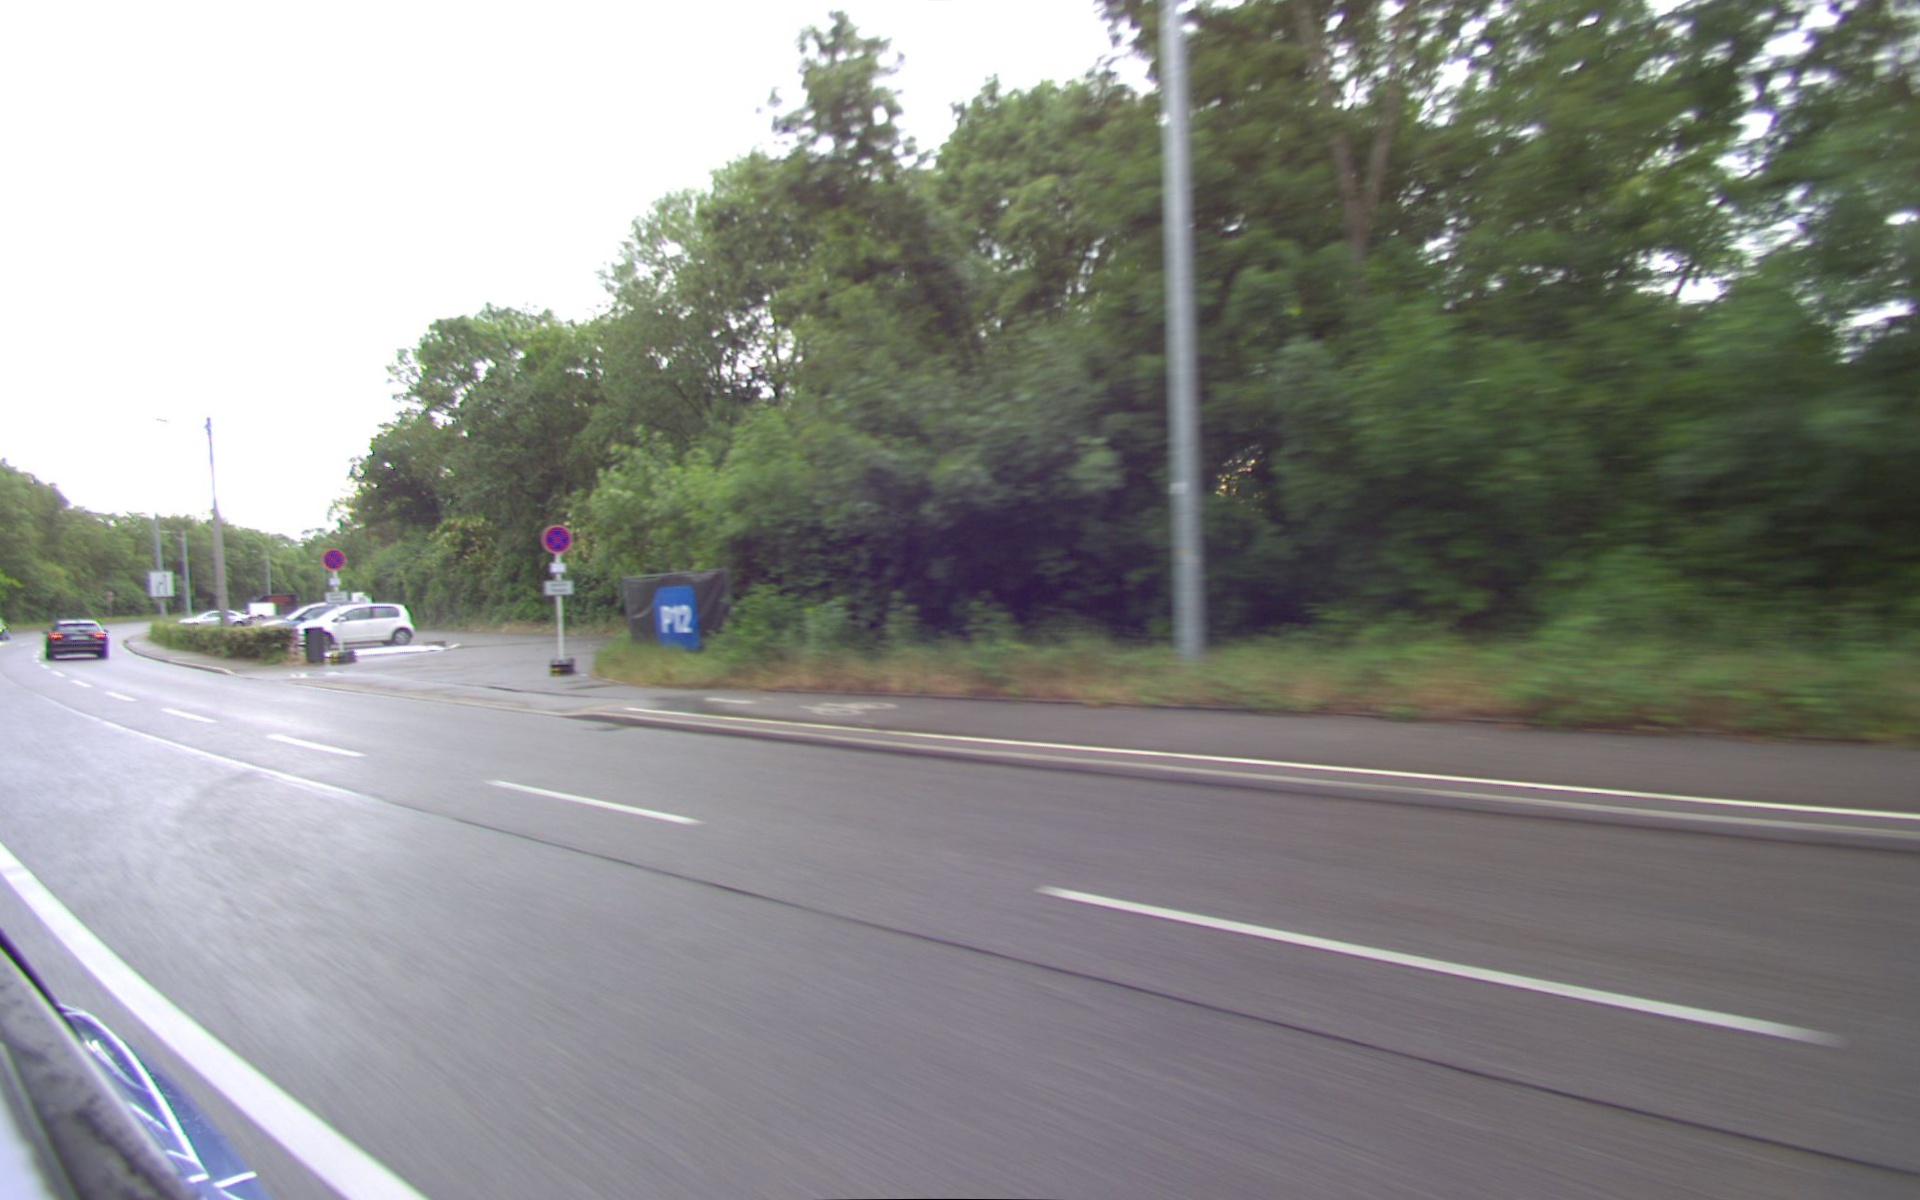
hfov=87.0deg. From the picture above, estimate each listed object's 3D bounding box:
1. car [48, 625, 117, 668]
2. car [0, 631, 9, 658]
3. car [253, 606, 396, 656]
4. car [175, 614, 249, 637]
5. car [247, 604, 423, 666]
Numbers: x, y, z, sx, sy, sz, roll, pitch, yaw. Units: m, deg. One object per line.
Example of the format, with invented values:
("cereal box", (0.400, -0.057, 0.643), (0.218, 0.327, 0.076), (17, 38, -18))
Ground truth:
("car", (-33.157, 1.717, 38.332), (1.829, 1.484, 3.920), (0, -1, -39))
("car", (-62.051, 2.862, 64.457), (1.969, 1.598, 4.006), (-1, 0, -41))
("car", (-24.317, 1.149, 38.821), (4.319, 1.613, 1.758), (-3, 2, -43))
("car", (-54.708, 1.862, 74.039), (1.908, 1.495, 4.149), (-2, 0, 45))
("car", (-21.000, 1.120, 34.145), (1.896, 1.729, 4.688), (0, 2, 45))
